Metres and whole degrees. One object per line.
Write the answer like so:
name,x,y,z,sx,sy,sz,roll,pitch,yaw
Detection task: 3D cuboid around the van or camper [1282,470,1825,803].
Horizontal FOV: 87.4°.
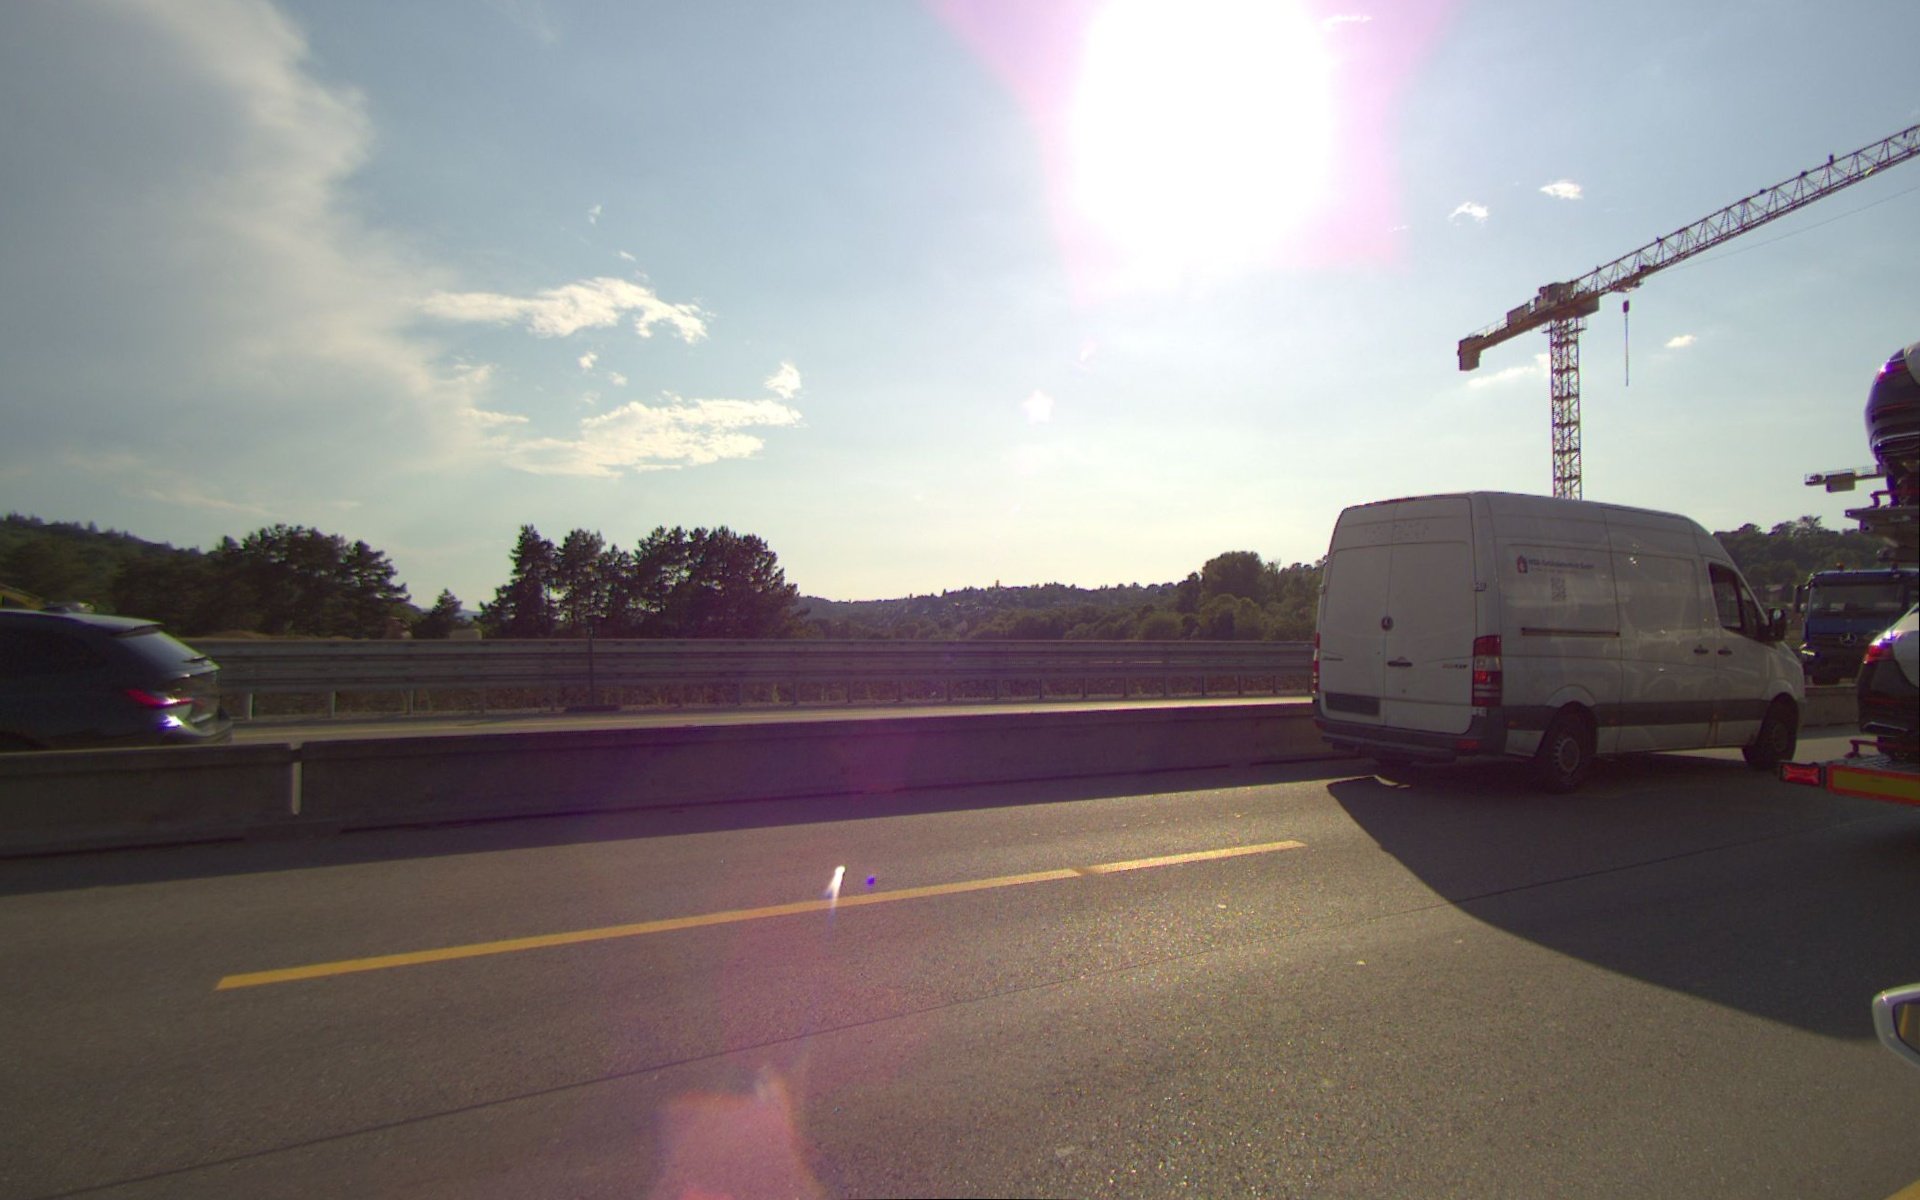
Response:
van or camper,6.176,0.367,10.242,5.827,2.654,1.986,1,-1,-27

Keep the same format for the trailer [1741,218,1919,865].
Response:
trailer,13.071,-0.201,9.534,15.548,4.049,2.846,2,-2,-28

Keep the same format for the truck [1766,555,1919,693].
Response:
truck,25.394,0.694,27.609,5.873,3.441,2.887,1,-2,-26

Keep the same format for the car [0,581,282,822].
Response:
car,-7.301,0.649,6.597,4.479,1.484,1.986,2,-3,-28
